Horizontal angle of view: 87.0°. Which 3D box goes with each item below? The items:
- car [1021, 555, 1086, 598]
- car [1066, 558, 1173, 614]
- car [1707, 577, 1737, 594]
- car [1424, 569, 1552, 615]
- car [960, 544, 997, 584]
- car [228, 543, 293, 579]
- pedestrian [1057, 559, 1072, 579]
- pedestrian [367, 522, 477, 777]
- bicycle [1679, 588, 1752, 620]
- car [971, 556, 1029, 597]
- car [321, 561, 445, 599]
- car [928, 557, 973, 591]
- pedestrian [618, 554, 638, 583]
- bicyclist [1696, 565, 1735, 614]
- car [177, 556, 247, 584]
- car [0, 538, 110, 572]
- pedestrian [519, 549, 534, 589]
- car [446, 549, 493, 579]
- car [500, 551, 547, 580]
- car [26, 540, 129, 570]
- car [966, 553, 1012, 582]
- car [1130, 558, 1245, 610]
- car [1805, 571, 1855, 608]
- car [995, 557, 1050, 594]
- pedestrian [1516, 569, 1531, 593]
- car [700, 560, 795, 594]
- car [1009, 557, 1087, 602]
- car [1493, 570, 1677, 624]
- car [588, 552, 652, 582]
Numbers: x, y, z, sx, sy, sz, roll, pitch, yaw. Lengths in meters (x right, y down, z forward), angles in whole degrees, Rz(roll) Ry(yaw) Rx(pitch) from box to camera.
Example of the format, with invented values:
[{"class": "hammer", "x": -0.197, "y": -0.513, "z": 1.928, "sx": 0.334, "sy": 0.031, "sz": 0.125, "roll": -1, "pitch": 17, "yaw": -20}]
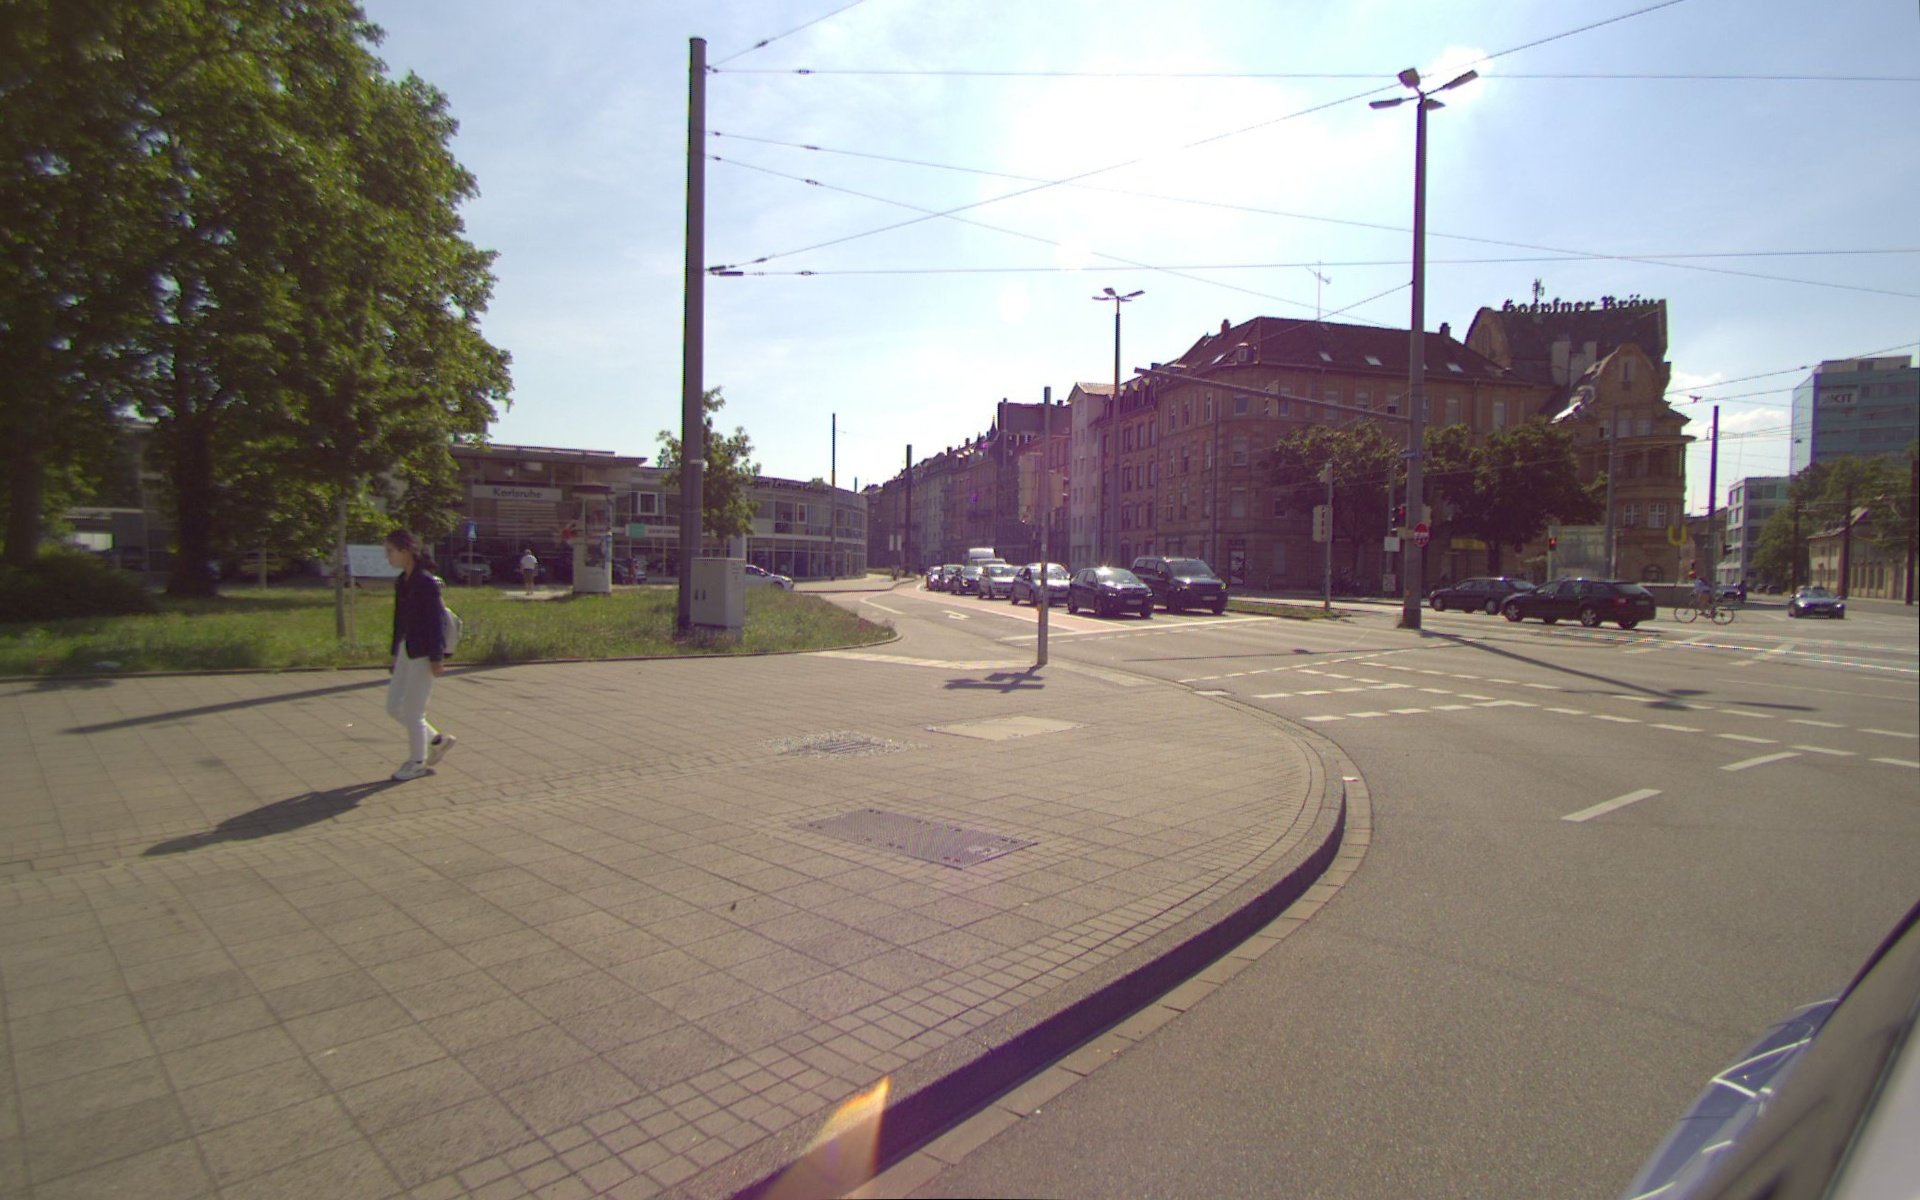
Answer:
[{"class": "car", "x": 4.357, "y": -1.104, "z": 47.925, "sx": 1.861, "sy": 1.940, "sz": 4.209, "roll": 0, "pitch": 1, "yaw": -12}, {"class": "car", "x": 4.845, "y": -0.467, "z": 31.403, "sx": 1.858, "sy": 1.607, "sz": 4.219, "roll": 0, "pitch": 2, "yaw": -12}, {"class": "car", "x": 66.192, "y": -1.283, "z": 87.948, "sx": 1.625, "sy": 1.362, "sz": 3.546, "roll": 2, "pitch": 2, "yaw": 30}, {"class": "car", "x": 20.549, "y": -0.369, "z": 39.593, "sx": 1.670, "sy": 1.446, "sz": 4.410, "roll": -1, "pitch": 5, "yaw": -21}, {"class": "car", "x": 1.274, "y": -2.503, "z": 72.247, "sx": 2.172, "sy": 2.608, "sz": 5.879, "roll": 2, "pitch": 0, "yaw": -3}, {"class": "car", "x": -35.766, "y": -1.975, "z": 51.848, "sx": 1.958, "sy": 1.705, "sz": 4.008, "roll": 2, "pitch": 0, "yaw": -24}, {"class": "pedestrian", "x": 7.616, "y": -2.280, "z": 73.978, "sx": 0.877, "sy": 1.450, "sz": 0.707, "roll": 2, "pitch": 2, "yaw": 25}, {"class": "pedestrian", "x": -3.593, "y": 0.312, "z": 6.771, "sx": 0.396, "sy": 1.625, "sz": 0.450, "roll": 2, "pitch": 0, "yaw": 25}, {"class": "bicycle", "x": 26.854, "y": 0.124, "z": 35.998, "sx": 0.701, "sy": 1.027, "sz": 2.025, "roll": -2, "pitch": 3, "yaw": -21}, {"class": "car", "x": 1.754, "y": -1.055, "z": 46.124, "sx": 1.622, "sy": 1.760, "sz": 4.209, "roll": 0, "pitch": 1, "yaw": -12}, {"class": "car", "x": -25.222, "y": -0.861, "z": 44.438, "sx": 4.504, "sy": 1.454, "sz": 1.977, "roll": 2, "pitch": 0, "yaw": -25}, {"class": "car", "x": -0.570, "y": -1.476, "z": 58.310, "sx": 1.775, "sy": 1.869, "sz": 4.209, "roll": 0, "pitch": 1, "yaw": -12}, {"class": "pedestrian", "x": -18.944, "y": -1.787, "z": 57.736, "sx": 0.937, "sy": 1.600, "sz": 0.535, "roll": 2, "pitch": 0, "yaw": -32}, {"class": "bicyclist", "x": 26.842, "y": -0.374, "z": 35.969, "sx": 0.701, "sy": 1.690, "sz": 0.877, "roll": -2, "pitch": 2, "yaw": -21}, {"class": "car", "x": -37.289, "y": -1.484, "z": 50.572, "sx": 1.958, "sy": 1.260, "sz": 4.008, "roll": 2, "pitch": 1, "yaw": -24}, {"class": "car", "x": -45.341, "y": -2.238, "z": 50.675, "sx": 3.920, "sy": 1.571, "sz": 2.003, "roll": 0, "pitch": 2, "yaw": -31}, {"class": "pedestrian", "x": -17.951, "y": -1.283, "z": 41.920, "sx": 0.385, "sy": 1.616, "sz": 0.464, "roll": 2, "pitch": 0, "yaw": -5}, {"class": "car", "x": -27.032, "y": -1.995, "z": 55.706, "sx": 1.960, "sy": 1.504, "sz": 4.005, "roll": 2, "pitch": 1, "yaw": -30}, {"class": "car", "x": -24.622, "y": -1.956, "z": 57.003, "sx": 1.960, "sy": 1.504, "sz": 4.005, "roll": 2, "pitch": 1, "yaw": -30}, {"class": "car", "x": -48.292, "y": -2.452, "z": 55.497, "sx": 3.920, "sy": 1.526, "sz": 2.003, "roll": 0, "pitch": 2, "yaw": -31}, {"class": "car", "x": 1.768, "y": -2.045, "z": 62.902, "sx": 2.148, "sy": 1.701, "sz": 5.037, "roll": 0, "pitch": 2, "yaw": -7}, {"class": "car", "x": 7.488, "y": -0.597, "z": 33.830, "sx": 1.926, "sy": 1.607, "sz": 4.727, "roll": 1, "pitch": 2, "yaw": -12}, {"class": "car", "x": 39.936, "y": -0.502, "z": 46.469, "sx": 1.632, "sy": 1.603, "sz": 3.941, "roll": 2, "pitch": 3, "yaw": 41}, {"class": "car", "x": 3.349, "y": -1.304, "z": 55.007, "sx": 1.861, "sy": 1.940, "sz": 4.209, "roll": 0, "pitch": 1, "yaw": -12}, {"class": "pedestrian", "x": 34.738, "y": -1.193, "z": 62.390, "sx": 0.705, "sy": 1.451, "sz": 0.609, "roll": 2, "pitch": 0, "yaw": 24}, {"class": "car", "x": -10.521, "y": -1.147, "z": 50.090, "sx": 4.502, "sy": 1.454, "sz": 1.447, "roll": 2, "pitch": 0, "yaw": -15}, {"class": "car", "x": 3.265, "y": -0.763, "z": 38.257, "sx": 1.861, "sy": 1.607, "sz": 4.008, "roll": 0, "pitch": 1, "yaw": -12}, {"class": "car", "x": 19.047, "y": -0.142, "z": 31.149, "sx": 1.601, "sy": 1.453, "sz": 4.791, "roll": 0, "pitch": 2, "yaw": -21}, {"class": "car", "x": -20.437, "y": -1.965, "z": 60.763, "sx": 3.981, "sy": 1.638, "sz": 1.799, "roll": 3, "pitch": 0, "yaw": 39}]
